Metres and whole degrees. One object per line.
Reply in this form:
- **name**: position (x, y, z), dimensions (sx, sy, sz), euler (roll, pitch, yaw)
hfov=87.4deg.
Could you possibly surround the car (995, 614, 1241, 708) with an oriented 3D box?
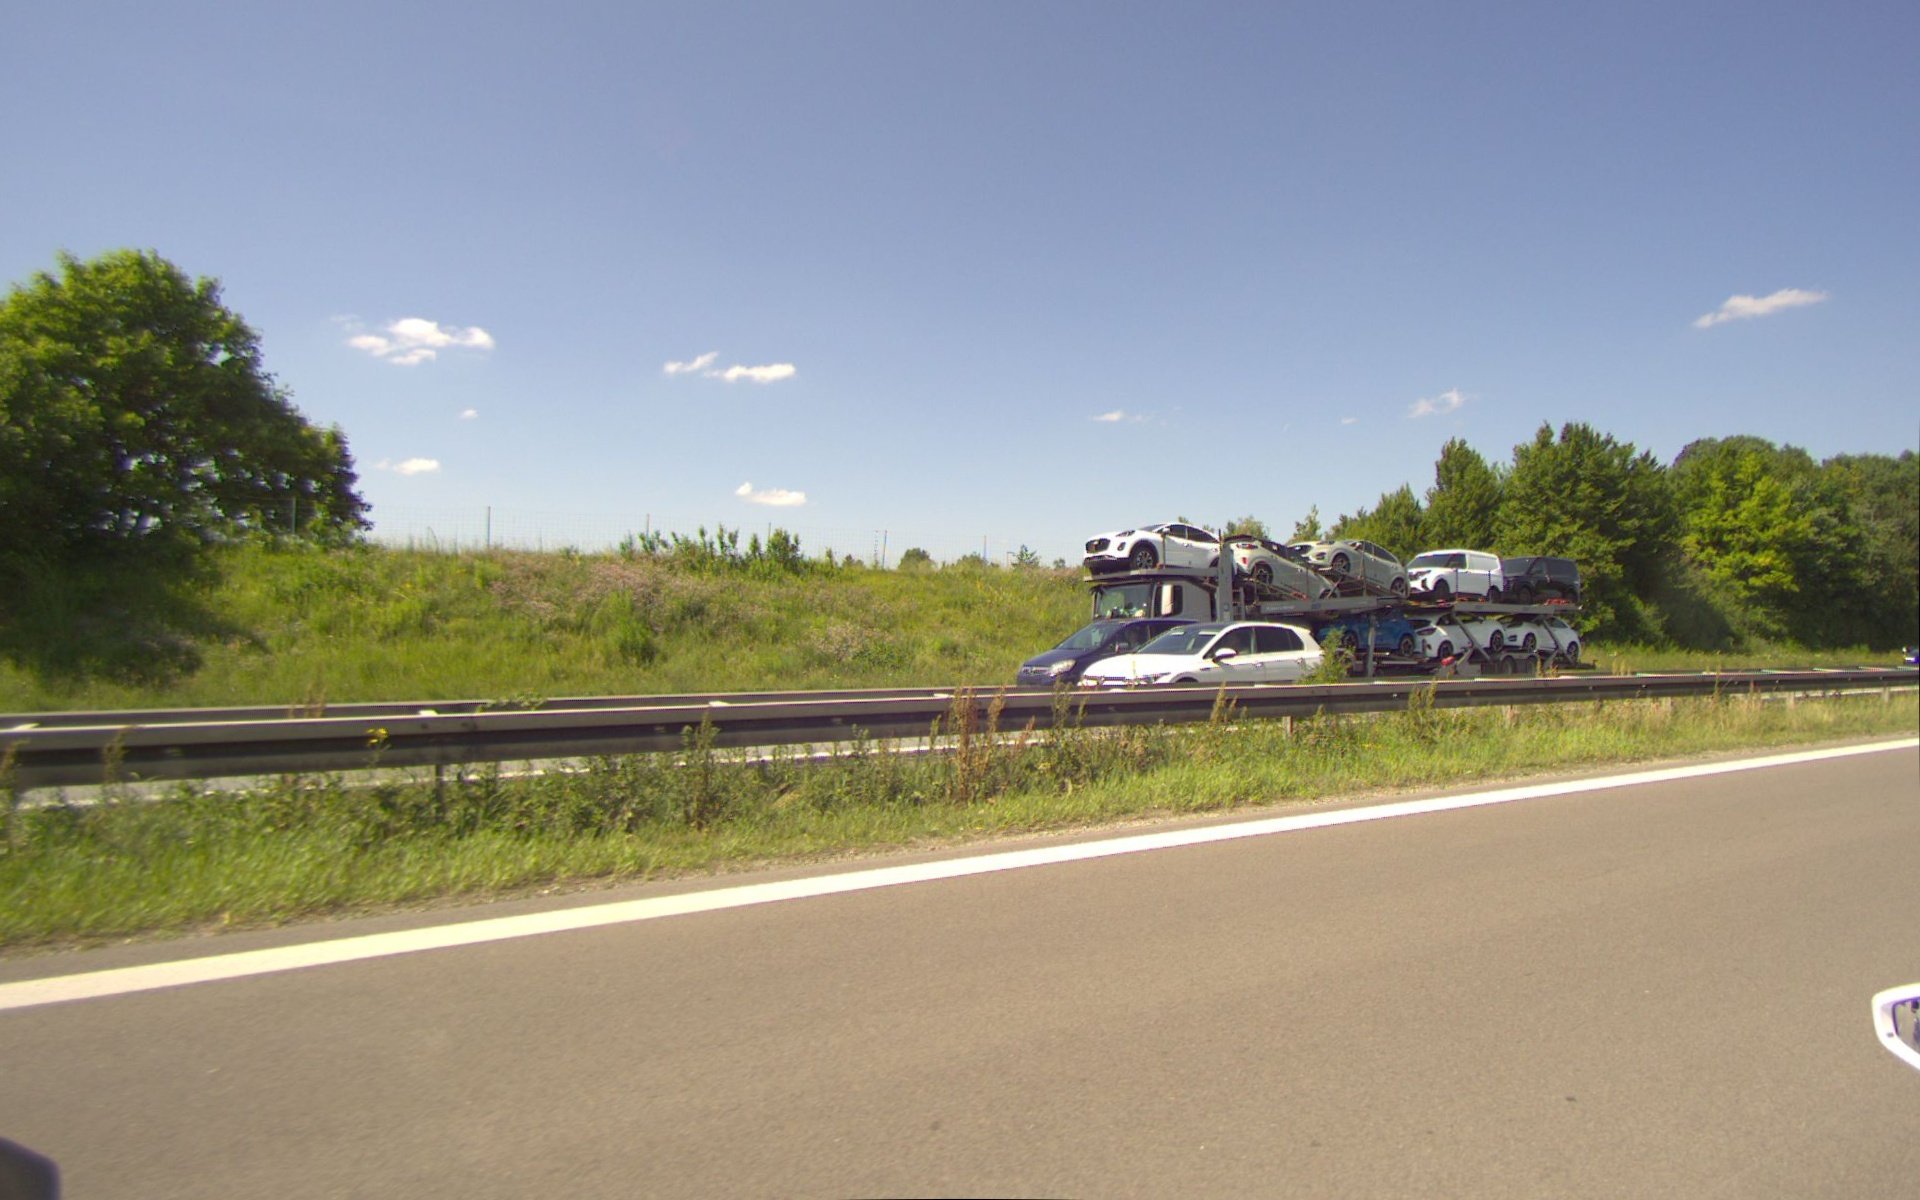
- **car**: position (3.107, 1.130, 19.540), dimensions (4.527, 1.635, 1.984), euler (1, -2, -31)

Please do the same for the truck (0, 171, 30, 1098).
- **truck**: position (-5.086, 0.068, 0.381), dimensions (6.616, 2.576, 1.983), euler (1, 0, -31)

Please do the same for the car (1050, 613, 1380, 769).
- **car**: position (3.923, 1.300, 15.216), dimensions (4.857, 2.040, 1.984), euler (3, -2, -31)

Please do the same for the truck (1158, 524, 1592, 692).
- **truck**: position (13.190, 0.399, 30.333), dimensions (16.490, 4.103, 3.194), euler (1, -2, -32)

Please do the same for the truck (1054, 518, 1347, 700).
- **truck**: position (6.293, 0.307, 25.972), dimensions (7.313, 4.103, 3.223), euler (1, -2, -32)

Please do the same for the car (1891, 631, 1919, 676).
- **car**: position (31.463, 1.693, 31.915), dimensions (3.953, 1.408, 1.708), euler (1, -2, -30)
